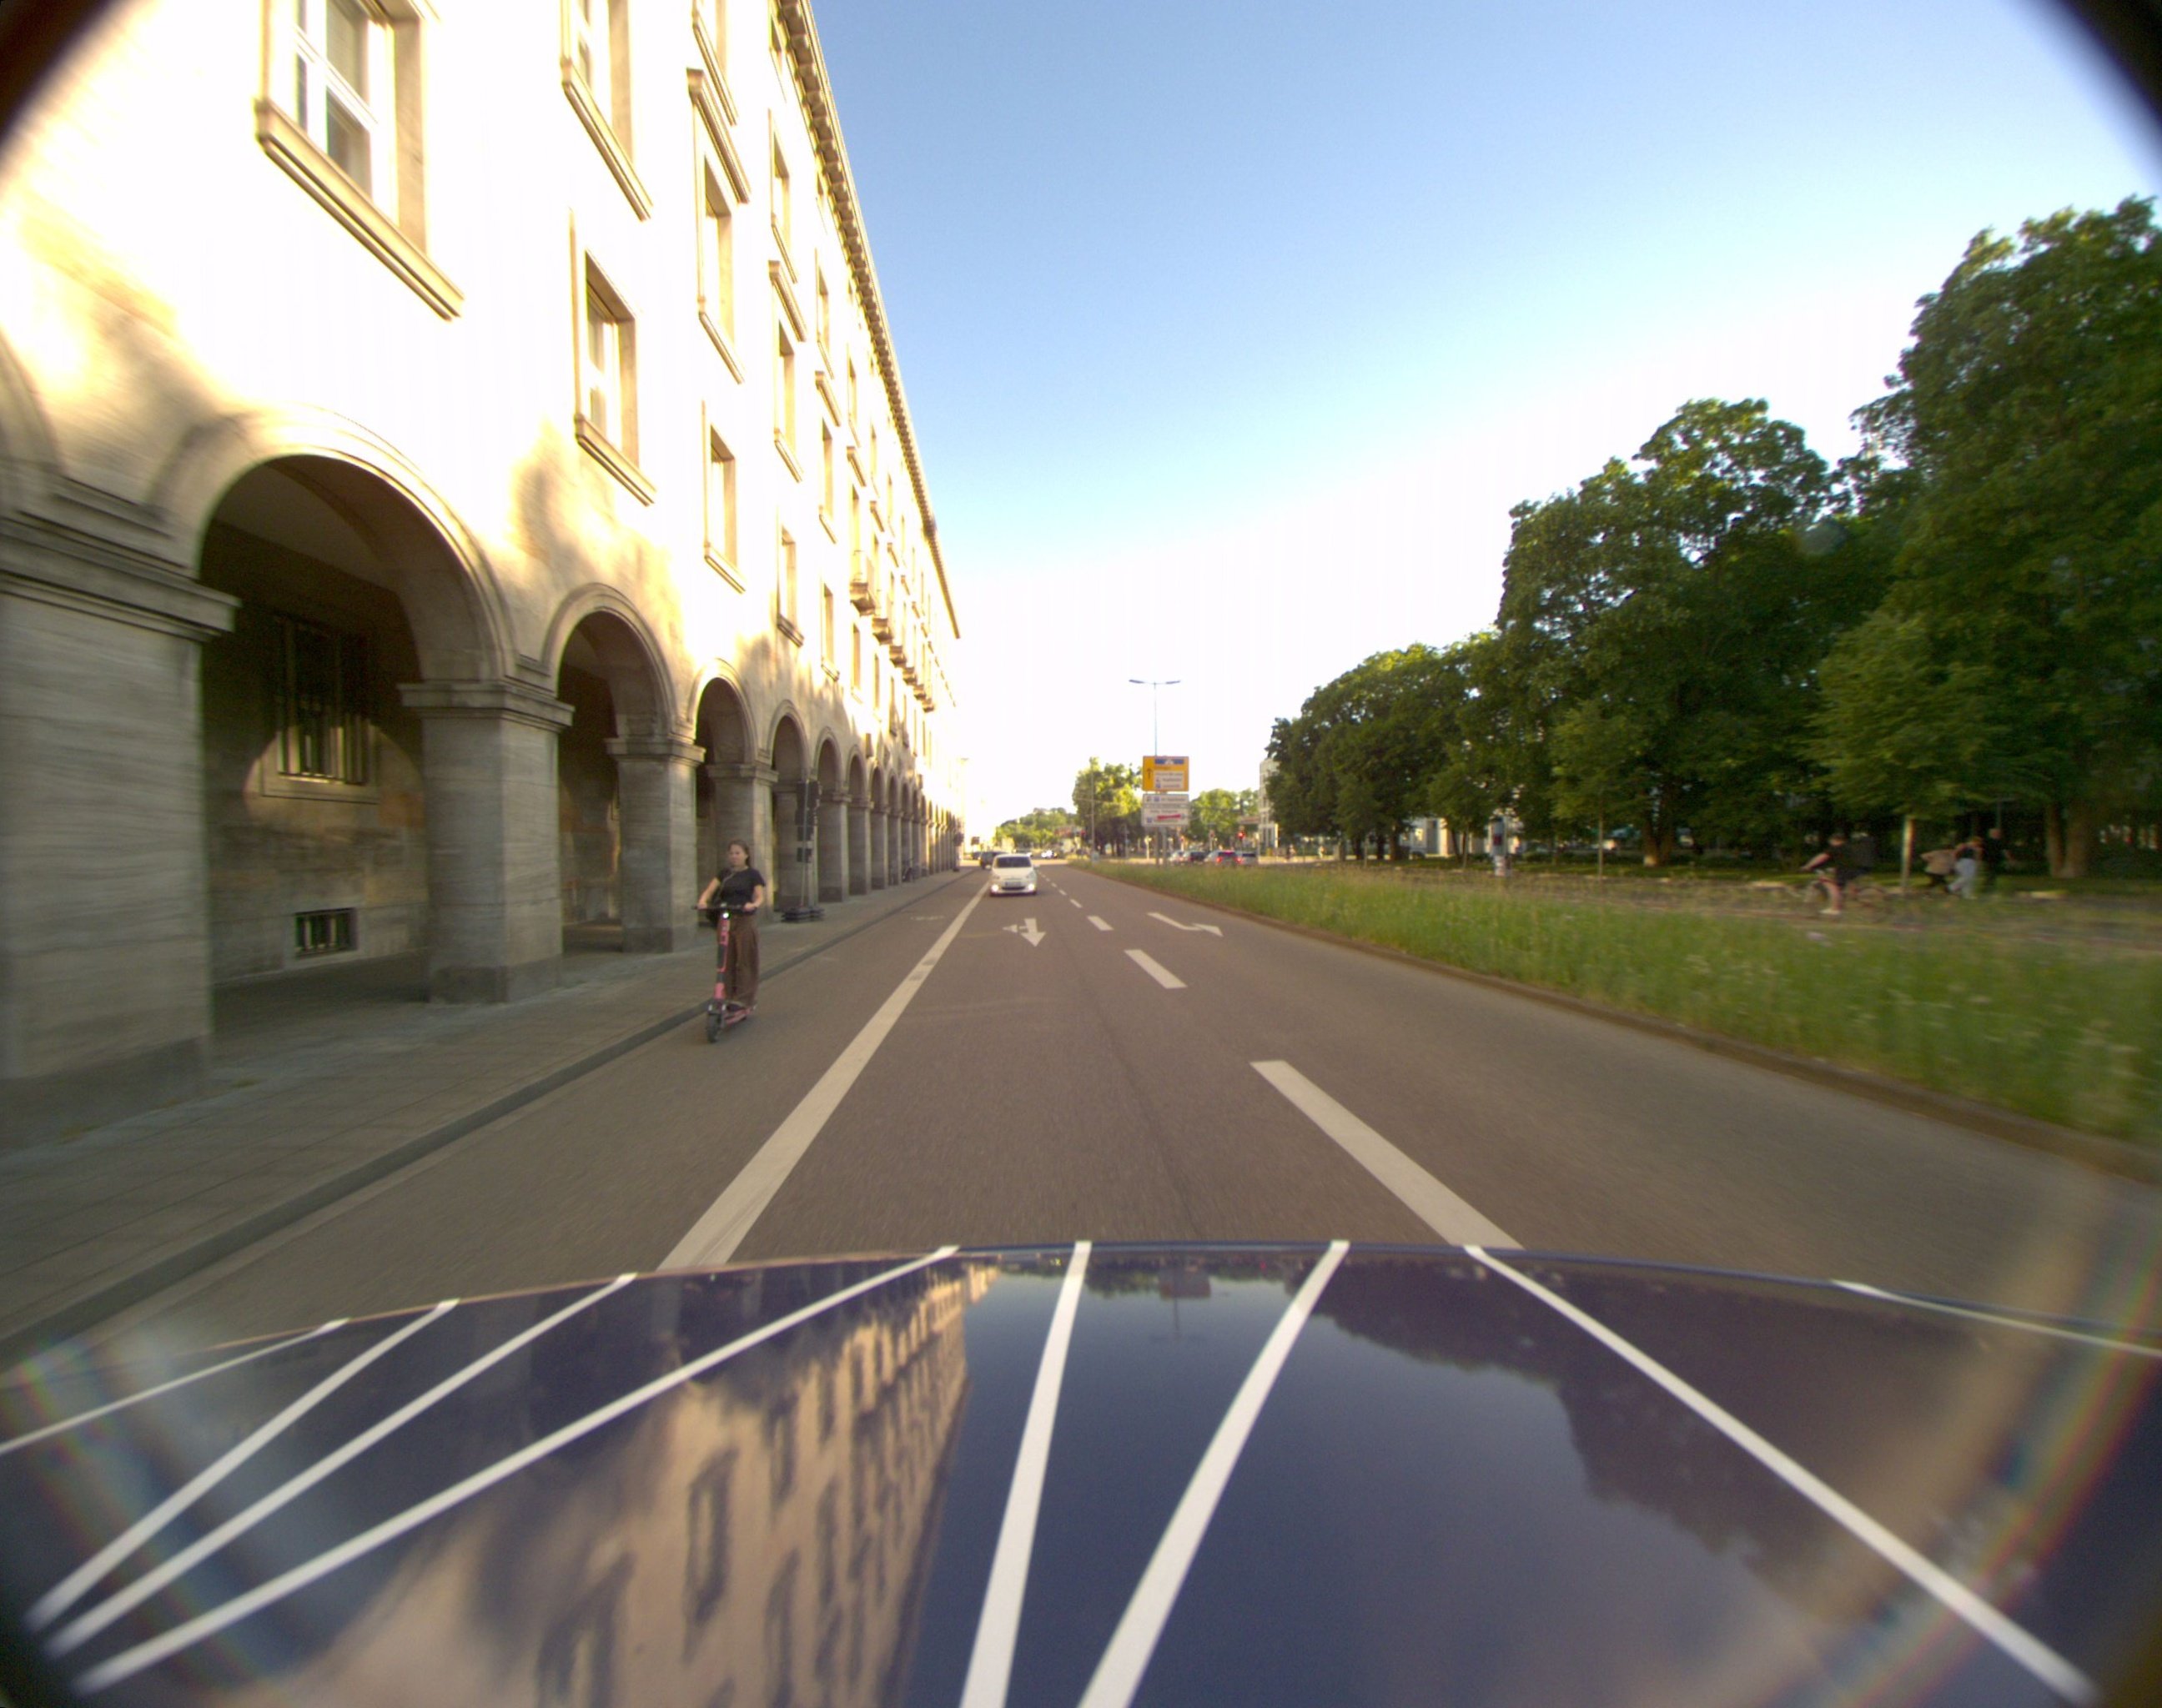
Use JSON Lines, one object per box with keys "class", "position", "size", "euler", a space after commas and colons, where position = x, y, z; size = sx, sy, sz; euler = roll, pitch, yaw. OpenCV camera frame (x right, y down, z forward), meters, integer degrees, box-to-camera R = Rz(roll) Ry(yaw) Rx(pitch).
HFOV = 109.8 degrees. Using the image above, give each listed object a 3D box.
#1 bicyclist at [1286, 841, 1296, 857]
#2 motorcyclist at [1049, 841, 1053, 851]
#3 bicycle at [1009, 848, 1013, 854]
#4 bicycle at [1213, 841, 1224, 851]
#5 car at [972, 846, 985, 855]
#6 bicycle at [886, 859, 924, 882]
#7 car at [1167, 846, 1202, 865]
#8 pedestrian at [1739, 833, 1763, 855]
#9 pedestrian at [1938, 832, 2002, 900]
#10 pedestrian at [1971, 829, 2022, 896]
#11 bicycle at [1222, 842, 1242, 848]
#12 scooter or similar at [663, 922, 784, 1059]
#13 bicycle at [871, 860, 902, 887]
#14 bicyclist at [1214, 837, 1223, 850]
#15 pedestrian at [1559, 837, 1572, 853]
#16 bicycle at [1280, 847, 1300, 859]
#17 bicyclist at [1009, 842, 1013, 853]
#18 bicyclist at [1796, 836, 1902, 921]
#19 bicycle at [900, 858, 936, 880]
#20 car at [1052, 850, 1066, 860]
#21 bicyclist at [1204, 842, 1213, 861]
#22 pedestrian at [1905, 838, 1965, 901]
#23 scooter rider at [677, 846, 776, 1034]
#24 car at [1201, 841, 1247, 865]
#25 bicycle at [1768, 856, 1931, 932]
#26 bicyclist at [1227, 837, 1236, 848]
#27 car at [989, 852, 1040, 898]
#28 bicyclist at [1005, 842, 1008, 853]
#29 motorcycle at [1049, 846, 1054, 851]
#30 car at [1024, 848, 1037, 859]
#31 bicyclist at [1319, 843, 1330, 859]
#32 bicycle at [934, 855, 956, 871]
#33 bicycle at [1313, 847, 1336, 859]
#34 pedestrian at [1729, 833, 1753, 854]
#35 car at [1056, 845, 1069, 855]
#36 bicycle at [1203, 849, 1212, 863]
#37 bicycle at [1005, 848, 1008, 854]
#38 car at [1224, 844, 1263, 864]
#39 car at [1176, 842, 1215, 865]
{"class": "bicyclist", "position": [22.646, -0.539, 81.980], "size": [0.838, 1.734, 0.754], "euler": [0, 3, -5]}
{"class": "motorcyclist", "position": [-4.478, -1.223, 114.651], "size": [0.607, 1.438, 0.736], "euler": [-1, 2, -4]}
{"class": "bicycle", "position": [-10.334, -0.494, 112.392], "size": [0.452, 0.869, 1.384], "euler": [-1, 1, -5]}
{"class": "bicycle", "position": [16.862, -0.969, 92.888], "size": [0.844, 1.224, 2.017], "euler": [0, 1, 24]}
{"class": "car", "position": [-17.806, -0.630, 132.521], "size": [1.999, 1.565, 4.546], "euler": [-1, 1, -4]}
{"class": "bicycle", "position": [-8.287, 0.767, 35.802], "size": [0.610, 1.044, 1.717], "euler": [2, 1, 39]}
{"class": "car", "position": [8.679, 0.104, 64.006], "size": [1.999, 1.551, 4.547], "euler": [-1, 1, -4]}
{"class": "pedestrian", "position": [41.784, -0.628, 47.403], "size": [0.828, 1.332, 0.716], "euler": [-1, 1, -2]}
{"class": "pedestrian", "position": [23.339, 0.298, 19.962], "size": [0.773, 1.730, 0.760], "euler": [-1, 1, -1]}
{"class": "pedestrian", "position": [24.047, 0.212, 19.961], "size": [0.525, 1.730, 0.655], "euler": [-1, 1, -1]}
{"class": "bicycle", "position": [19.568, -1.157, 98.363], "size": [2.334, 0.846, 0.843], "euler": [-1, 1, -2]}
{"class": "scooter or similar", "position": [-3.197, 1.188, 6.891], "size": [0.556, 1.025, 1.117], "euler": [-1, 1, -1]}
{"class": "bicycle", "position": [-8.116, 0.805, 31.765], "size": [0.471, 1.044, 1.715], "euler": [1, 1, 14]}
{"class": "bicyclist", "position": [16.838, -1.255, 92.843], "size": [0.850, 1.610, 0.974], "euler": [0, 2, 25]}
{"class": "pedestrian", "position": [40.329, -0.746, 63.234], "size": [0.733, 1.332, 0.599], "euler": [-1, 1, -2]}
{"class": "bicycle", "position": [22.554, -0.122, 81.993], "size": [2.020, 1.233, 0.777], "euler": [-1, 3, -5]}
{"class": "bicyclist", "position": [-10.332, -0.960, 112.315], "size": [0.454, 1.567, 0.535], "euler": [-1, 2, -5]}
{"class": "bicyclist", "position": [15.080, 0.447, 14.958], "size": [0.749, 1.582, 1.201], "euler": [0, 3, -5]}
{"class": "bicycle", "position": [-8.109, 0.757, 37.771], "size": [1.715, 1.044, 0.527], "euler": [1, 1, -19]}
{"class": "car", "position": [-3.555, 0.160, 120.483], "size": [1.999, 1.564, 4.546], "euler": [-1, 1, -4]}
{"class": "bicyclist", "position": [11.309, -0.257, 67.244], "size": [0.782, 1.669, 0.839], "euler": [0, 2, 10]}
{"class": "pedestrian", "position": [22.517, 0.404, 20.042], "size": [0.744, 1.631, 0.726], "euler": [-1, 1, -1]}
{"class": "scooter rider", "position": [-3.200, 0.746, 6.909], "size": [0.563, 1.622, 0.650], "euler": [-1, 2, -1]}
{"class": "car", "position": [9.571, -0.113, 51.149], "size": [1.999, 1.556, 4.058], "euler": [-1, 1, -4]}
{"class": "bicycle", "position": [15.074, 0.740, 15.016], "size": [0.760, 1.268, 2.256], "euler": [0, 3, -5]}
{"class": "bicyclist", "position": [19.459, -1.523, 98.360], "size": [0.972, 1.354, 0.826], "euler": [-1, 1, -2]}
{"class": "car", "position": [-2.371, 0.704, 27.754], "size": [1.679, 1.456, 3.763], "euler": [-2, 1, -3]}
{"class": "bicyclist", "position": [-11.027, -0.969, 112.107], "size": [0.358, 1.567, 0.535], "euler": [-1, 2, -5]}
{"class": "motorcycle", "position": [-4.471, -0.816, 114.605], "size": [0.624, 0.791, 1.308], "euler": [-1, 1, -3]}
{"class": "car", "position": [-7.605, -0.146, 113.957], "size": [1.999, 1.564, 4.546], "euler": [-1, 1, -4]}
{"class": "bicyclist", "position": [26.456, -0.298, 82.511], "size": [0.925, 1.681, 0.775], "euler": [-1, 3, -6]}
{"class": "bicycle", "position": [-10.282, 0.649, 57.374], "size": [1.708, 1.127, 0.665], "euler": [2, 1, 35]}
{"class": "bicycle", "position": [26.422, -0.123, 82.515], "size": [2.311, 1.233, 0.777], "euler": [-1, 3, -5]}
{"class": "pedestrian", "position": [41.788, -0.654, 48.101], "size": [0.908, 1.332, 0.665], "euler": [-1, 1, -2]}
{"class": "car", "position": [-3.254, -0.653, 130.006], "size": [1.999, 1.565, 4.546], "euler": [-1, 1, -4]}
{"class": "bicycle", "position": [11.265, 0.164, 67.408], "size": [0.777, 1.233, 2.250], "euler": [0, 1, 10]}
{"class": "bicycle", "position": [-11.022, -0.483, 112.124], "size": [0.352, 0.869, 1.384], "euler": [-1, 1, -5]}
{"class": "car", "position": [13.424, -0.017, 63.018], "size": [1.939, 1.517, 4.585], "euler": [-1, 1, -4]}
{"class": "car", "position": [8.771, -0.084, 58.520], "size": [1.999, 1.666, 4.546], "euler": [-1, 1, -4]}
